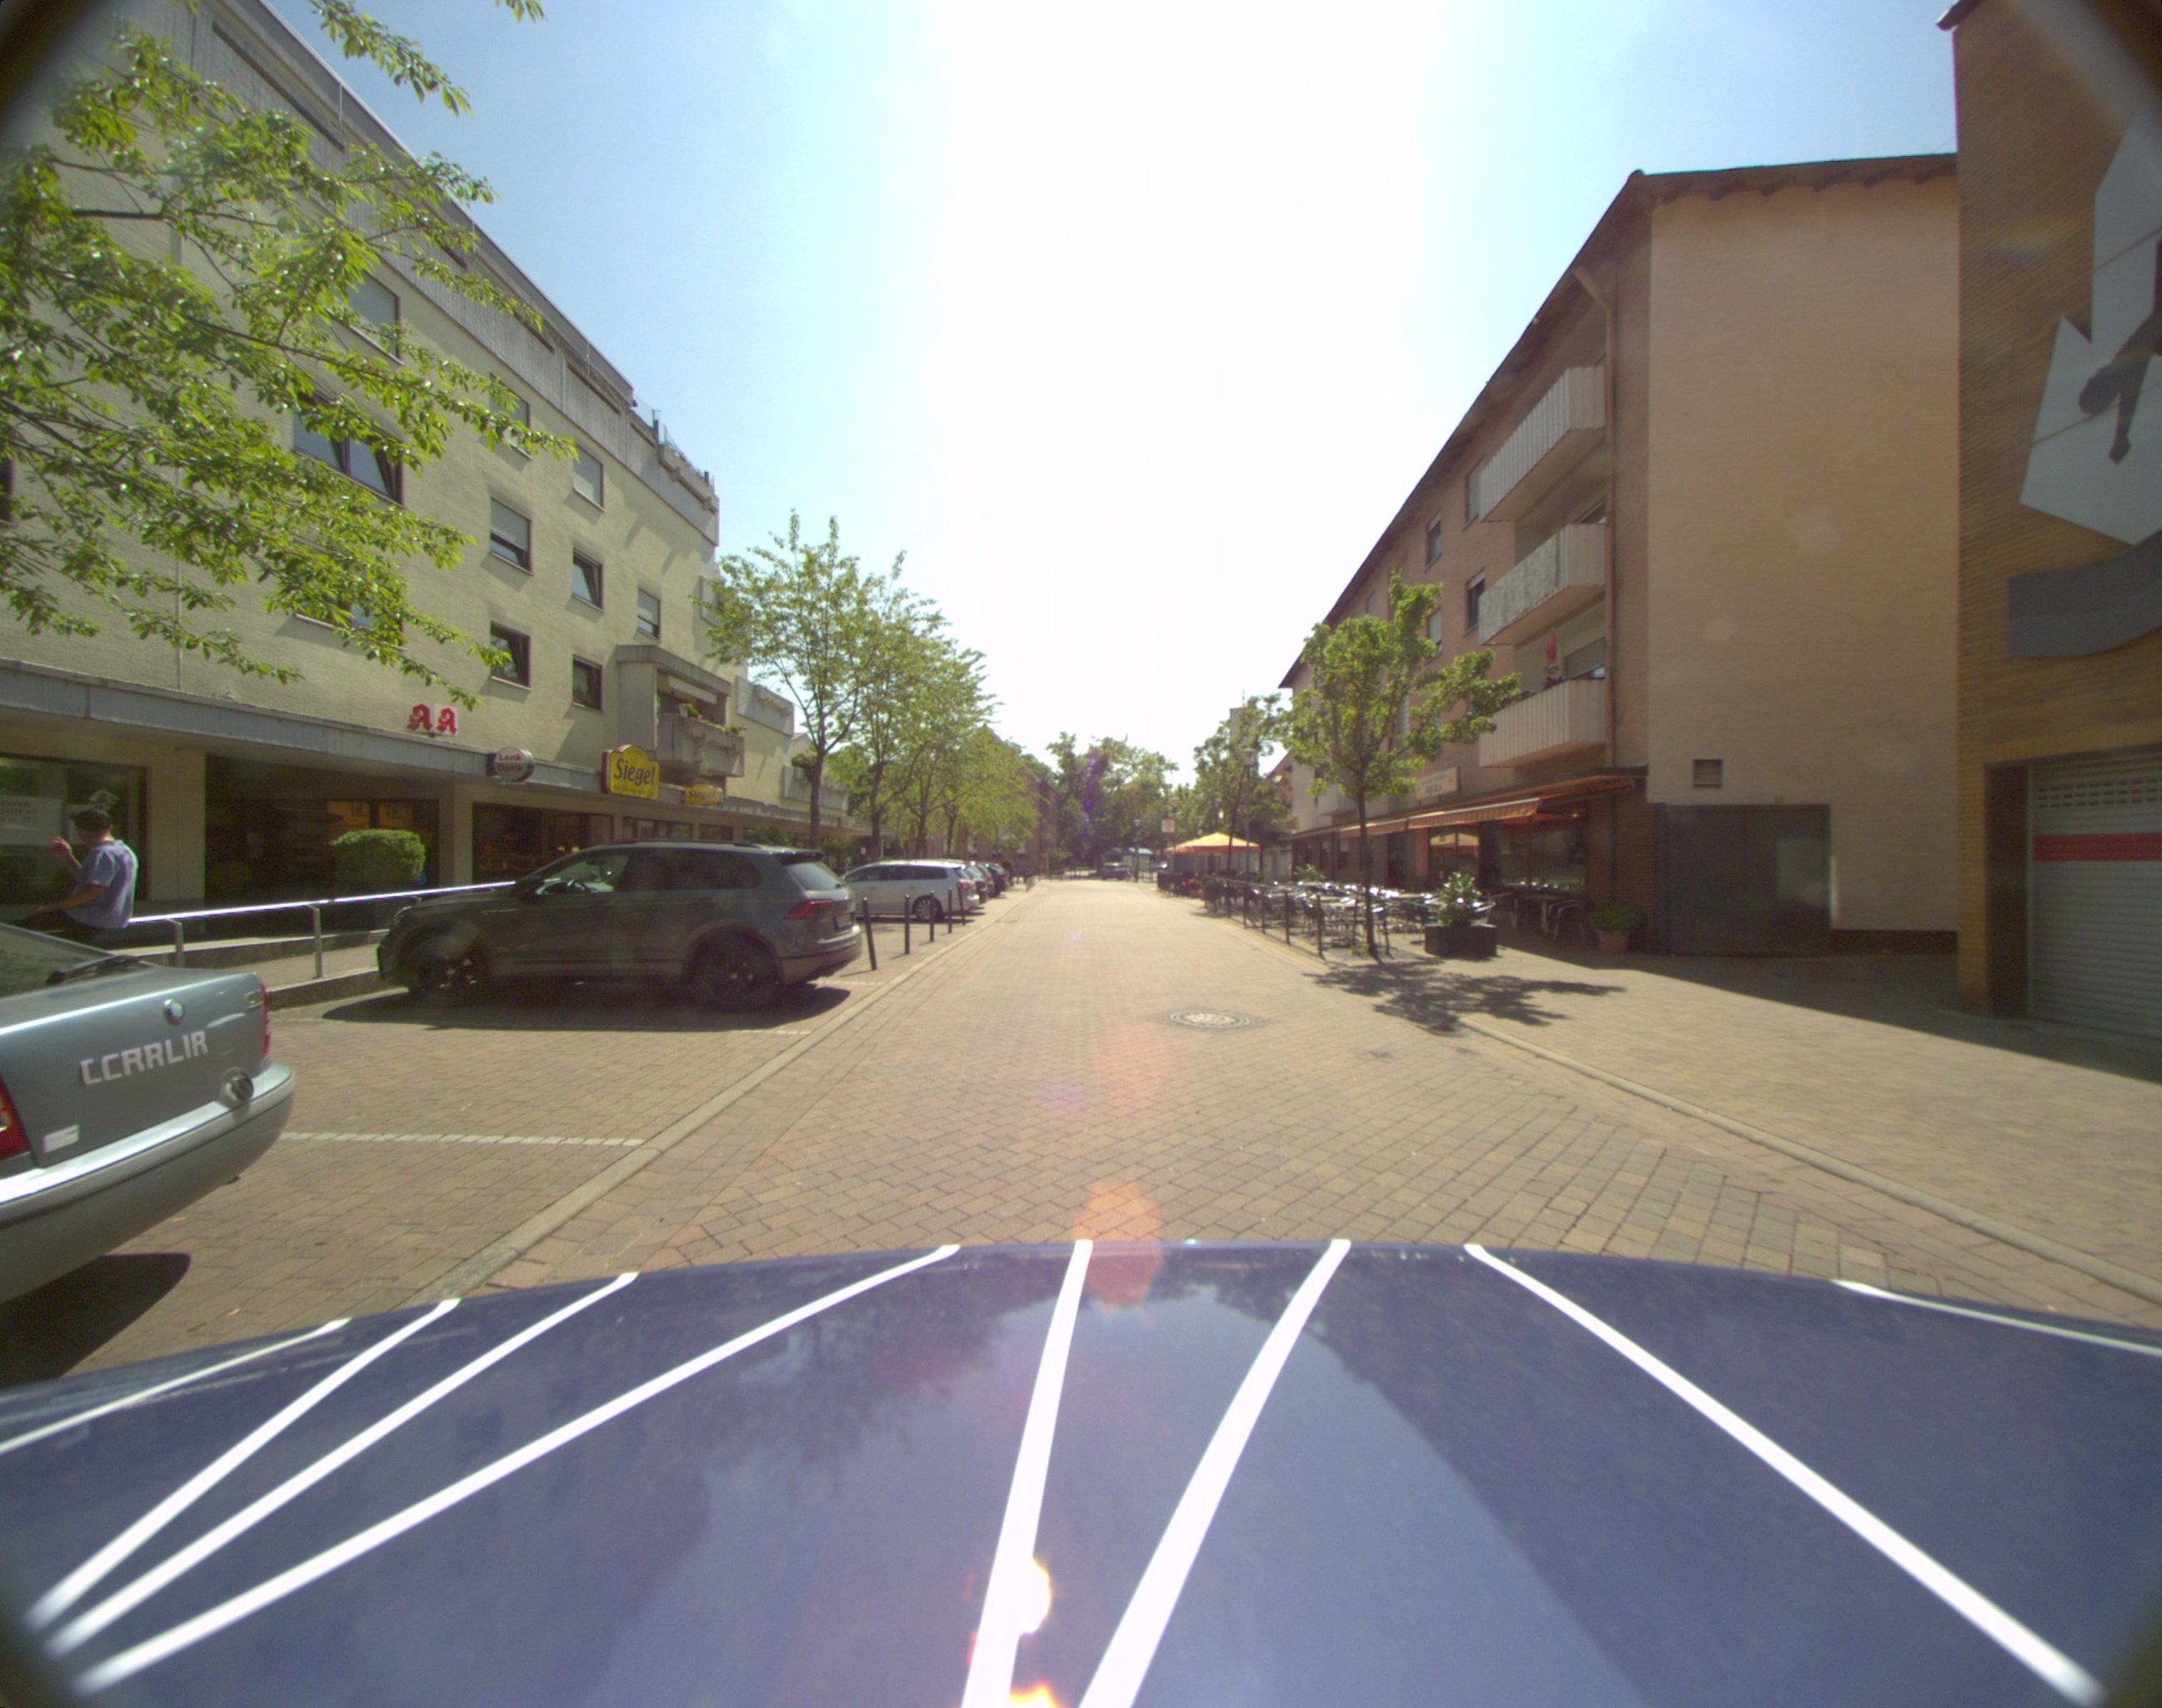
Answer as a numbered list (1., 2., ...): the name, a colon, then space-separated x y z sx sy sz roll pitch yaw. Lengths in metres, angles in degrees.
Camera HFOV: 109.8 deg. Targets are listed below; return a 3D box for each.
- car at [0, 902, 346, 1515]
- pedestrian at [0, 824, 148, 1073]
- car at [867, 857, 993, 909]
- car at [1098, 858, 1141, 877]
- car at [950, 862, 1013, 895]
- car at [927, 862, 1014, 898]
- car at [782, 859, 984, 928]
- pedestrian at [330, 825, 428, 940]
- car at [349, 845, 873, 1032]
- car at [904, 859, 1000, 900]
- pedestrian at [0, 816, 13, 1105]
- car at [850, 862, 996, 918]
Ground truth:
1. car: -4.998 0.921 1.726 4.391 1.455 1.887 1 0 -20
2. pedestrian: -7.535 0.650 5.657 0.614 1.721 0.649 0 1 34
3. car: -4.784 0.914 24.346 3.652 1.508 1.633 2 0 0
4. car: 3.366 1.192 65.065 1.899 1.546 5.042 1 -1 25
5. car: -4.517 1.110 34.592 2.703 1.437 1.268 0 0 0
6. car: -4.611 1.058 31.893 3.401 1.382 1.460 2 0 0
7. car: -4.902 0.955 19.237 4.586 1.534 1.807 1 0 0
8. pedestrian: -11.243 0.445 12.201 0.759 1.770 0.870 1 1 7
9. car: -4.525 0.786 7.841 4.255 1.608 1.756 2 0 -2
10. car: -4.968 0.977 29.521 3.401 1.455 1.520 2 0 0
11. pedestrian: -7.061 0.660 4.549 0.626 1.785 0.607 0 0 20
12. car: -4.467 0.998 21.787 3.800 1.423 1.614 2 0 0
